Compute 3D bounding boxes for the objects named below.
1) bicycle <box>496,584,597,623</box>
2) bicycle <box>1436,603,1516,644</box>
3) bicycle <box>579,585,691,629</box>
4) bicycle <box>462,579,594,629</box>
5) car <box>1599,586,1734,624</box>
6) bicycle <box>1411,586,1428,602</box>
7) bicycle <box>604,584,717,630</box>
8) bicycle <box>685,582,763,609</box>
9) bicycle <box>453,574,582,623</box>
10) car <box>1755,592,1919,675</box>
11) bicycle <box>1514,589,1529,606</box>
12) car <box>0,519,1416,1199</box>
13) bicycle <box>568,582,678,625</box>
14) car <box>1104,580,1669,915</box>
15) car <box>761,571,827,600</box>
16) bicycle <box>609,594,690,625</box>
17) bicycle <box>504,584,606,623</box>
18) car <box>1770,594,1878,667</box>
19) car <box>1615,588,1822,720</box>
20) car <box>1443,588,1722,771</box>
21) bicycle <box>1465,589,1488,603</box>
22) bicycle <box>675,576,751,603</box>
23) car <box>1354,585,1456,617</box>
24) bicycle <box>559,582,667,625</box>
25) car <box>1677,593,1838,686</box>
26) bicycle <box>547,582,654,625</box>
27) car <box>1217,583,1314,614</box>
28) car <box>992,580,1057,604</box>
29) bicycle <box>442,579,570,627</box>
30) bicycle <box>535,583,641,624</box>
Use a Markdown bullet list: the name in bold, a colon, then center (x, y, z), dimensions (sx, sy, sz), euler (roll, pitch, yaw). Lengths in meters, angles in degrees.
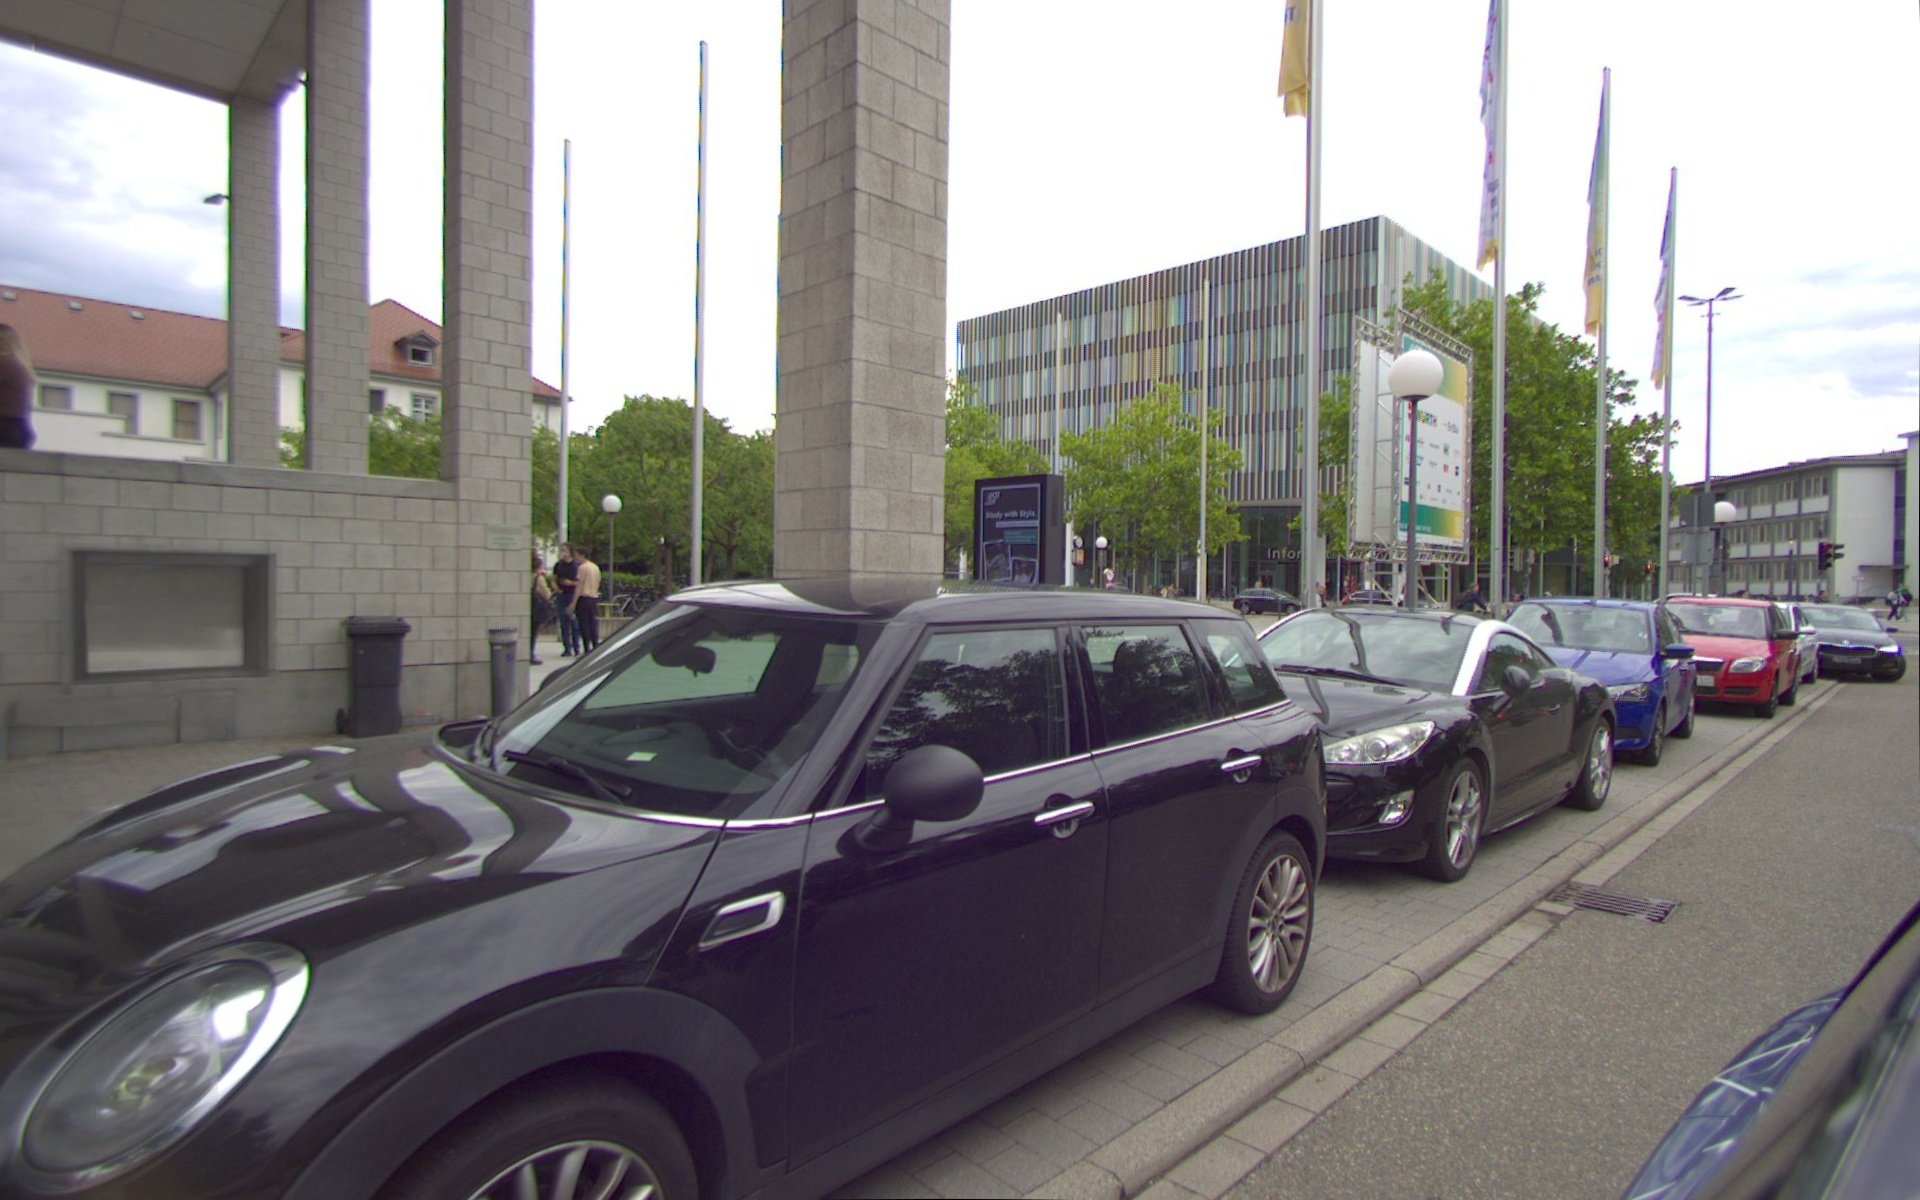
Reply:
- **bicycle**: center (-13.883, 0.131, 34.086), dimensions (3.056, 1.185, 0.746), euler (3, -2, -44)
- **bicycle**: center (14.423, 0.653, 28.332), dimensions (1.766, 1.107, 0.876), euler (1, 0, -2)
- **bicycle**: center (-9.392, 0.225, 29.395), dimensions (3.055, 1.185, 0.746), euler (3, -2, -43)
- **bicycle**: center (-11.175, 0.132, 26.298), dimensions (3.055, 1.185, 0.746), euler (3, -2, -43)
- **car**: center (35.096, 0.250, 50.356), dimensions (5.351, 1.719, 2.017), euler (0, -2, 41)
- **bicycle**: center (33.231, -0.437, 73.211), dimensions (0.475, 1.058, 1.914), euler (0, 2, 6)
- **bicycle**: center (-8.354, 0.225, 28.371), dimensions (3.055, 1.185, 0.620), euler (3, -2, -43)
- **bicycle**: center (-10.779, -0.222, 46.297), dimensions (3.334, 1.184, 1.054), euler (-1, 2, -39)
- **bicycle**: center (-11.703, -0.013, 26.885), dimensions (3.055, 1.185, 0.746), euler (3, -2, -43)
- **car**: center (18.181, 0.605, 21.024), dimensions (1.851, 1.419, 4.433), euler (4, 2, 29)
- **bicycle**: center (36.058, -0.188, 65.021), dimensions (0.477, 1.058, 1.775), euler (1, 2, 16)
- **car**: center (-0.340, 0.594, 3.176), dimensions (1.818, 1.461, 4.449), euler (3, 2, 44)
- **bicycle**: center (-9.974, 0.128, 30.110), dimensions (3.055, 1.185, 0.746), euler (3, -2, -43)
- **car**: center (3.025, 0.680, 6.615), dimensions (4.345, 1.460, 1.850), euler (2, -1, -44)
- **car**: center (-10.280, -0.920, 62.888), dimensions (1.982, 1.774, 4.026), euler (1, 1, 28)
- **bicycle**: center (-12.472, 0.398, 40.742), dimensions (3.055, 1.185, 0.746), euler (3, -2, -43)
- **bicycle**: center (-13.363, 0.129, 33.507), dimensions (3.056, 1.185, 0.746), euler (3, -2, -44)
- **car**: center (21.340, 0.682, 24.950), dimensions (4.038, 1.520, 1.624), euler (-1, 4, -44)
- **car**: center (10.732, 0.644, 14.204), dimensions (1.713, 1.491, 4.204), euler (4, 3, 45)
- **car**: center (6.508, 0.613, 10.342), dimensions (1.694, 1.429, 4.311), euler (2, 2, 42)
- **bicycle**: center (36.953, -0.322, 72.401), dimensions (0.474, 0.947, 2.012), euler (0, 2, -5)
- **bicycle**: center (-11.477, -0.492, 47.186), dimensions (3.333, 1.184, 1.054), euler (0, 1, -39)
- **car**: center (22.240, 0.015, 50.655), dimensions (1.968, 1.508, 4.280), euler (-1, 1, -45)
- **bicycle**: center (-10.486, 0.130, 30.702), dimensions (3.055, 1.185, 0.746), euler (3, -2, -43)
- **car**: center (14.455, 0.627, 18.272), dimensions (1.861, 1.471, 3.796), euler (1, 1, 45)
- **bicycle**: center (-11.049, 0.129, 31.224), dimensions (3.055, 1.185, 0.746), euler (3, -2, -43)
- **car**: center (17.042, -0.094, 56.614), dimensions (4.823, 1.683, 1.969), euler (1, 0, 44)
- **car**: center (4.367, -0.569, 69.355), dimensions (4.180, 1.638, 1.969), euler (1, 1, 43)
- **bicycle**: center (-12.254, 0.101, 27.442), dimensions (3.055, 1.185, 0.746), euler (3, -2, -43)
- **bicycle**: center (-11.633, 0.128, 31.746), dimensions (3.055, 1.185, 0.746), euler (3, -2, -43)
